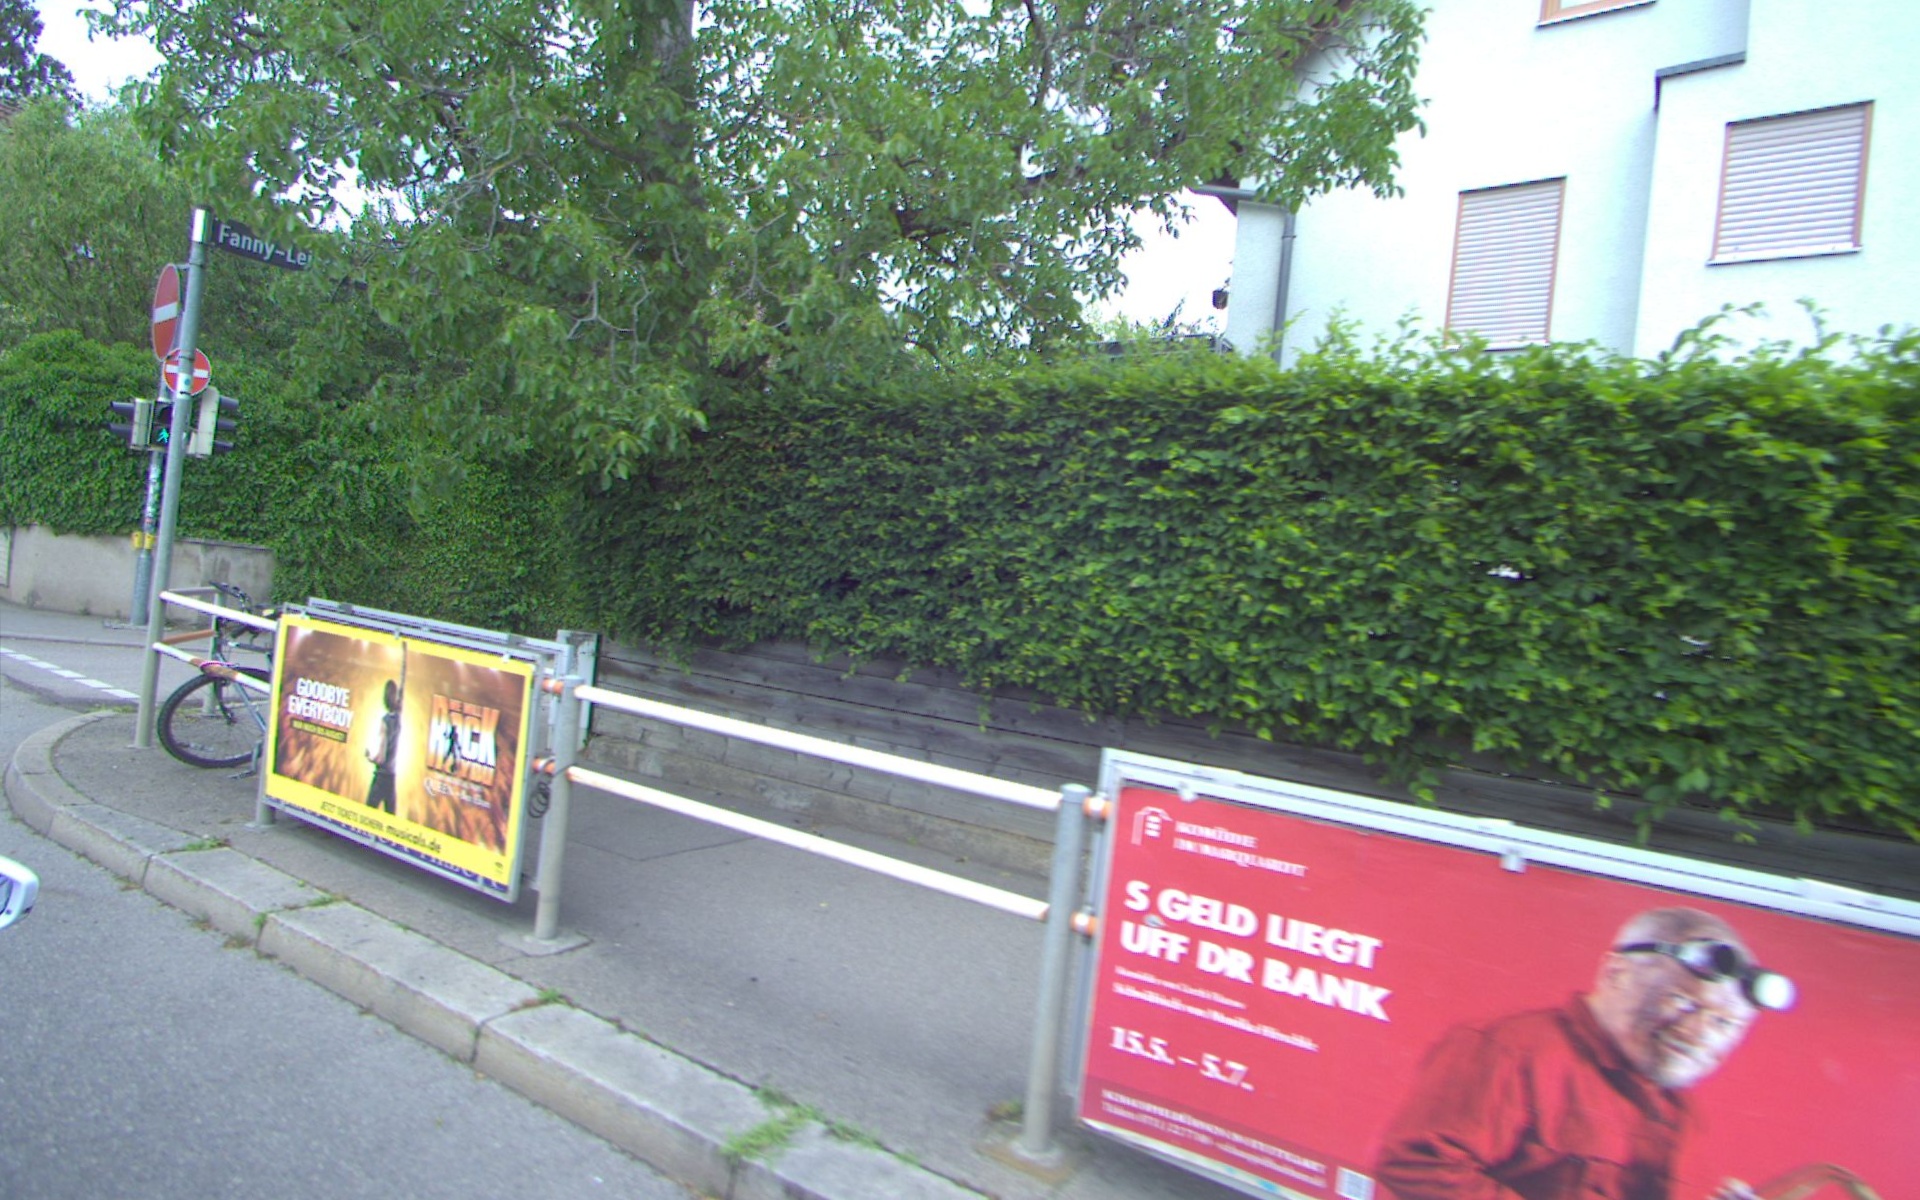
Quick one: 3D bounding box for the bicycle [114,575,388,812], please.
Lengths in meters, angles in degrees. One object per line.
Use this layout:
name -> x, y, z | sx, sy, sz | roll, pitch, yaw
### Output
bicycle -> -3.938, 0.474, 5.563 | 1.479, 1.041, 0.629 | 7, 0, 32
